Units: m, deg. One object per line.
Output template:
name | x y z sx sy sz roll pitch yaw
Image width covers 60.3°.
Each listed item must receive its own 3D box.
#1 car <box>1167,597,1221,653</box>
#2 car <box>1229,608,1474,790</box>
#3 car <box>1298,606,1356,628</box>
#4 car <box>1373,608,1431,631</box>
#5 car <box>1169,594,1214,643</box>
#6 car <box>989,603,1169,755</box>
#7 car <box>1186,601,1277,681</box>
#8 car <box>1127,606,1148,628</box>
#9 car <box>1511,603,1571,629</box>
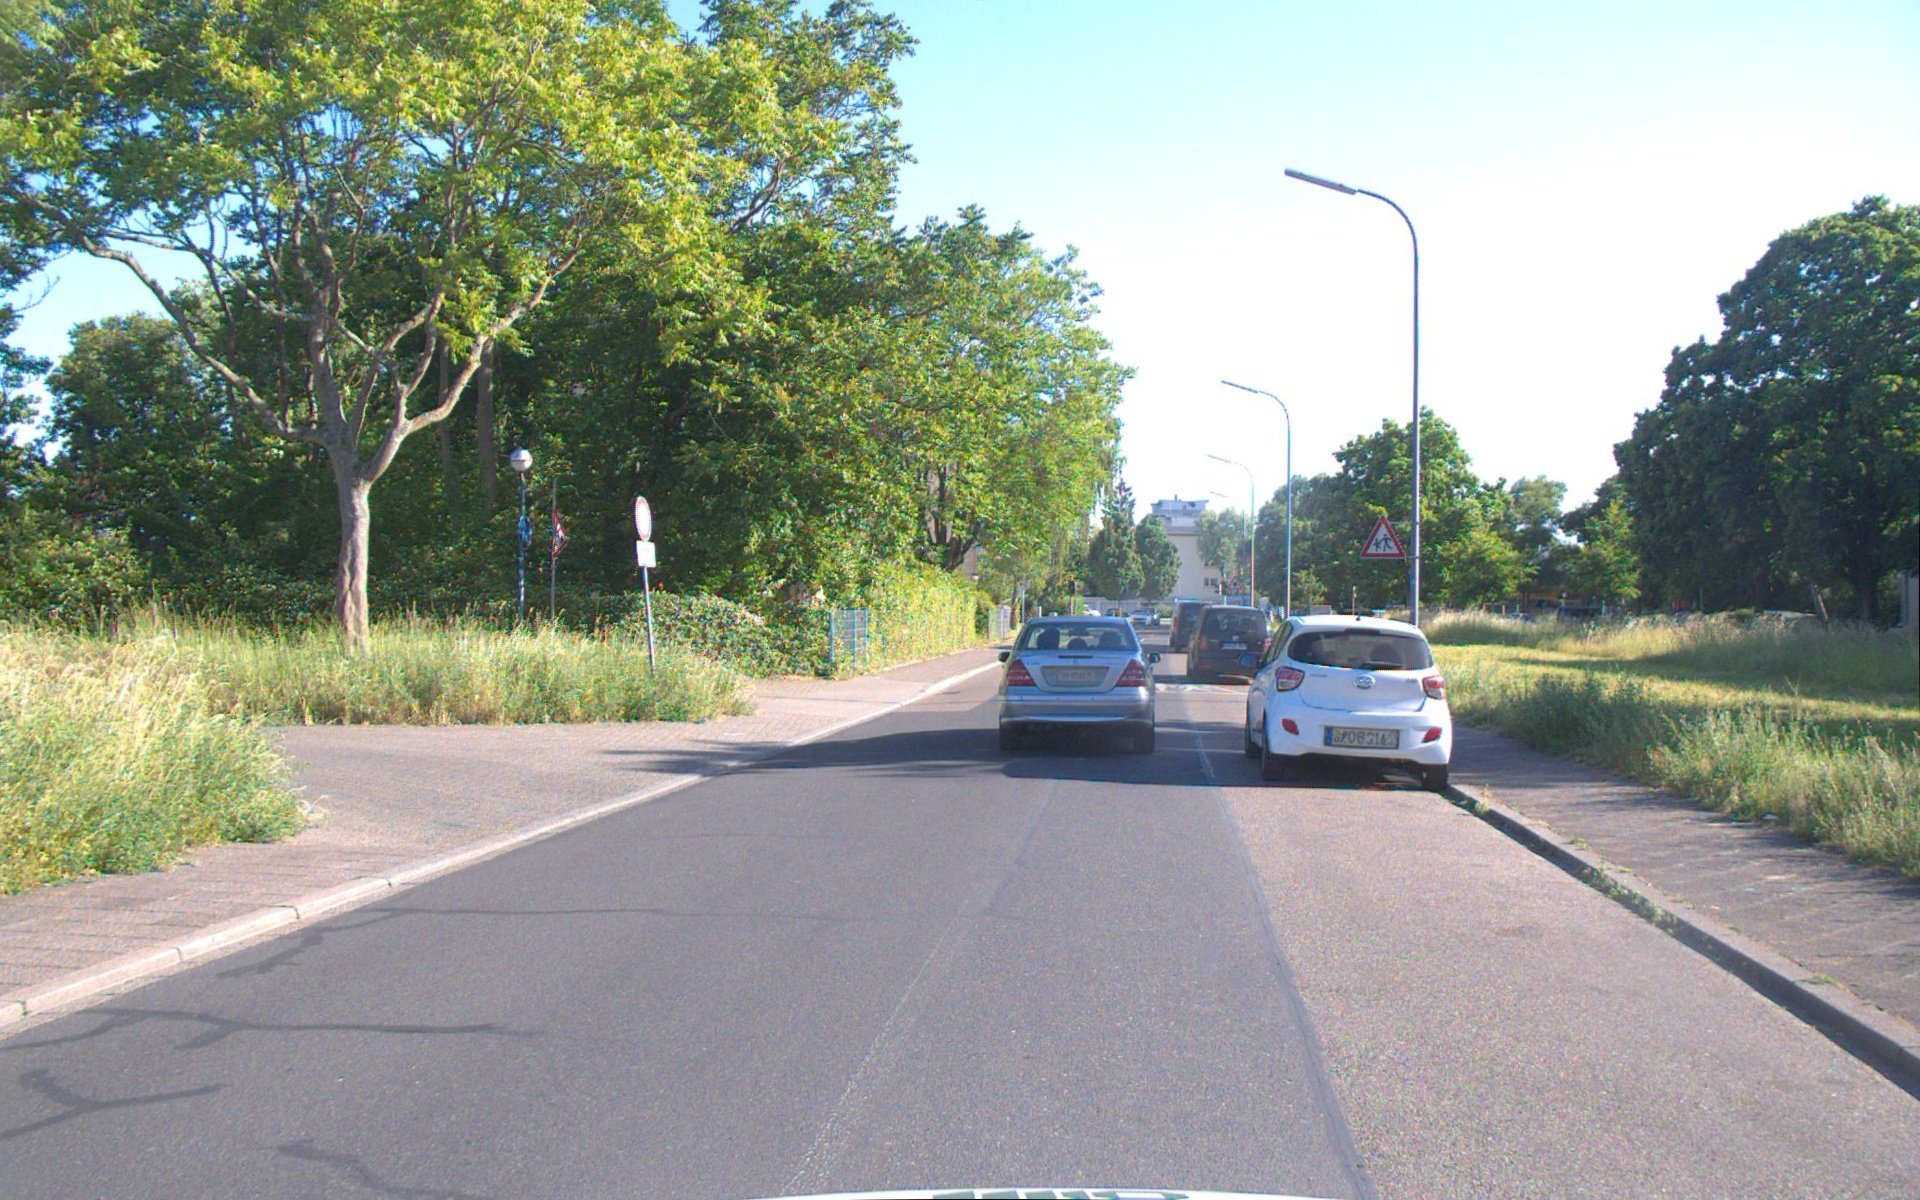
car | 8.171 0.842 57.919 1.662 1.790 3.853 2 0 6
car | 3.698 0.871 16.225 1.686 1.505 3.742 2 0 3
car | 25.184 1.173 113.541 3.627 1.467 1.699 0 -2 22
car | 29.944 1.298 112.042 3.627 1.497 1.699 0 -2 22
car | 9.571 0.748 68.523 1.662 1.884 3.853 2 0 6
car | 1.407 0.822 18.777 1.778 1.489 4.363 1 -1 6
car | 5.903 0.850 36.299 1.662 1.639 4.002 1 0 5
car | 15.361 1.480 143.188 1.845 1.758 4.002 1 -2 6
car | 38.088 1.072 108.420 3.627 1.646 1.699 0 -2 22
